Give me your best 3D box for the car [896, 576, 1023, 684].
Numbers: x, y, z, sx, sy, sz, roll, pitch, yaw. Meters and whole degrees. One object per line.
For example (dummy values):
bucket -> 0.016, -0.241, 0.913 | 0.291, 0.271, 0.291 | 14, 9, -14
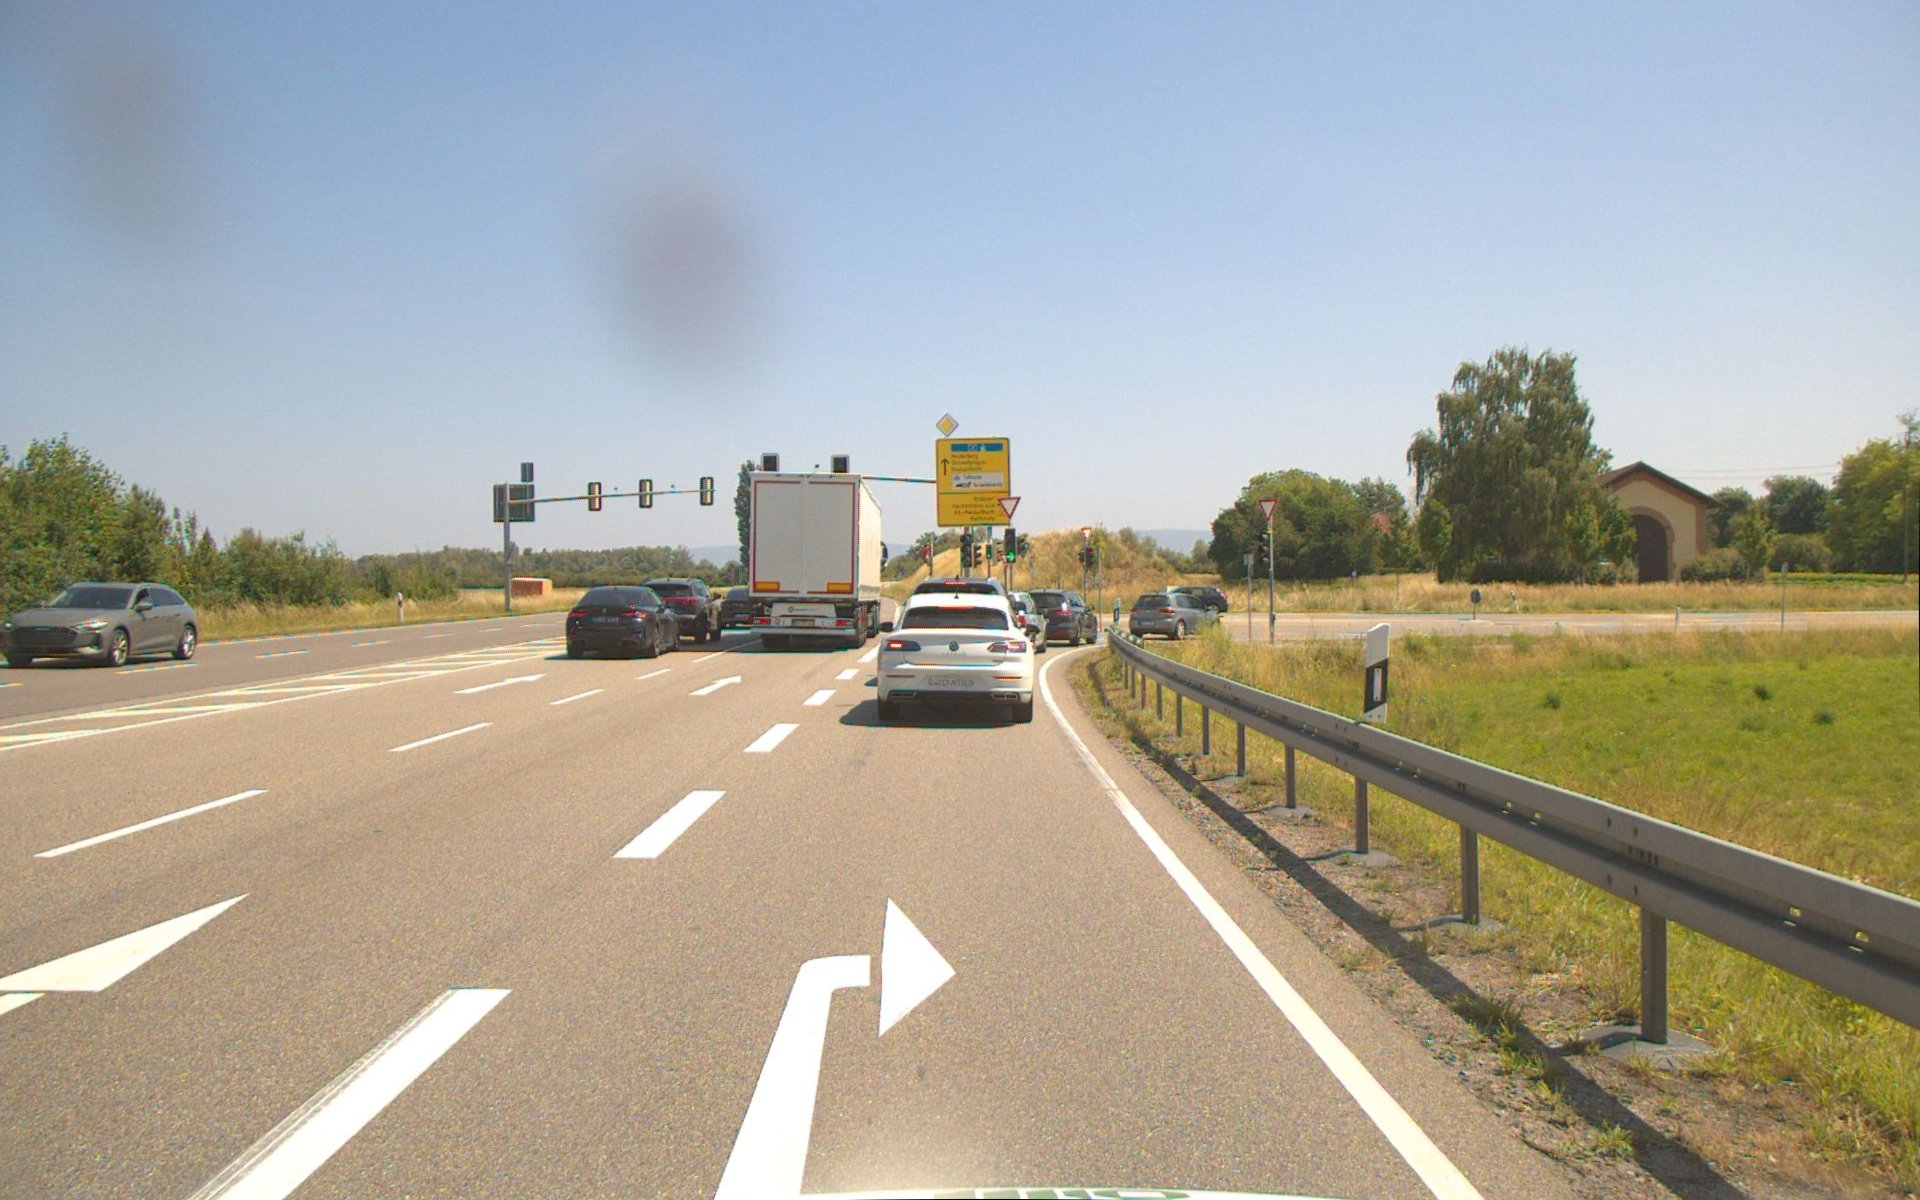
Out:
car -> 0.080, 0.459, 27.553 | 1.894, 1.644, 4.380 | 0, 0, 3

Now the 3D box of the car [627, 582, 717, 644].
car -> -7.435, 0.308, 43.038 | 1.773, 1.519, 4.019 | 1, 0, -3

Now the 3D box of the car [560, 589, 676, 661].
car -> -7.198, 0.488, 35.199 | 1.773, 1.423, 4.019 | 1, 0, -3

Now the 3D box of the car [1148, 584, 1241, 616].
car -> 10.954, -0.006, 77.417 | 4.171, 1.392, 1.777 | -1, 2, 2

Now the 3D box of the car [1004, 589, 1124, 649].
car -> 2.826, 0.481, 43.926 | 1.764, 1.502, 4.412 | 0, 0, 24

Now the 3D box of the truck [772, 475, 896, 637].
truck -> -3.739, -1.275, 50.781 | 3.312, 4.622, 6.372 | 1, 0, -1

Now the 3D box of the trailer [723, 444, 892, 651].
trailer -> -3.696, -1.221, 43.682 | 3.312, 4.622, 12.870 | 1, 0, 0

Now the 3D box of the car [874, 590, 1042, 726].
car -> -0.042, 0.626, 20.184 | 1.810, 1.458, 4.607 | 0, 0, -1

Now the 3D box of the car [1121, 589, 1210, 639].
car -> 6.685, 0.445, 53.474 | 1.764, 1.548, 3.879 | 0, 0, 25

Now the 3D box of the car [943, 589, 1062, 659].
car -> 1.005, 0.503, 36.832 | 1.761, 1.454, 4.096 | 0, 0, 14

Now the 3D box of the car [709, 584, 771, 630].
car -> -7.652, 0.240, 57.779 | 1.773, 1.519, 4.019 | 1, 0, -3

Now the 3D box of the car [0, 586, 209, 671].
car -> -15.579, 0.475, 30.187 | 1.841, 1.422, 4.528 | 0, 0, -3
